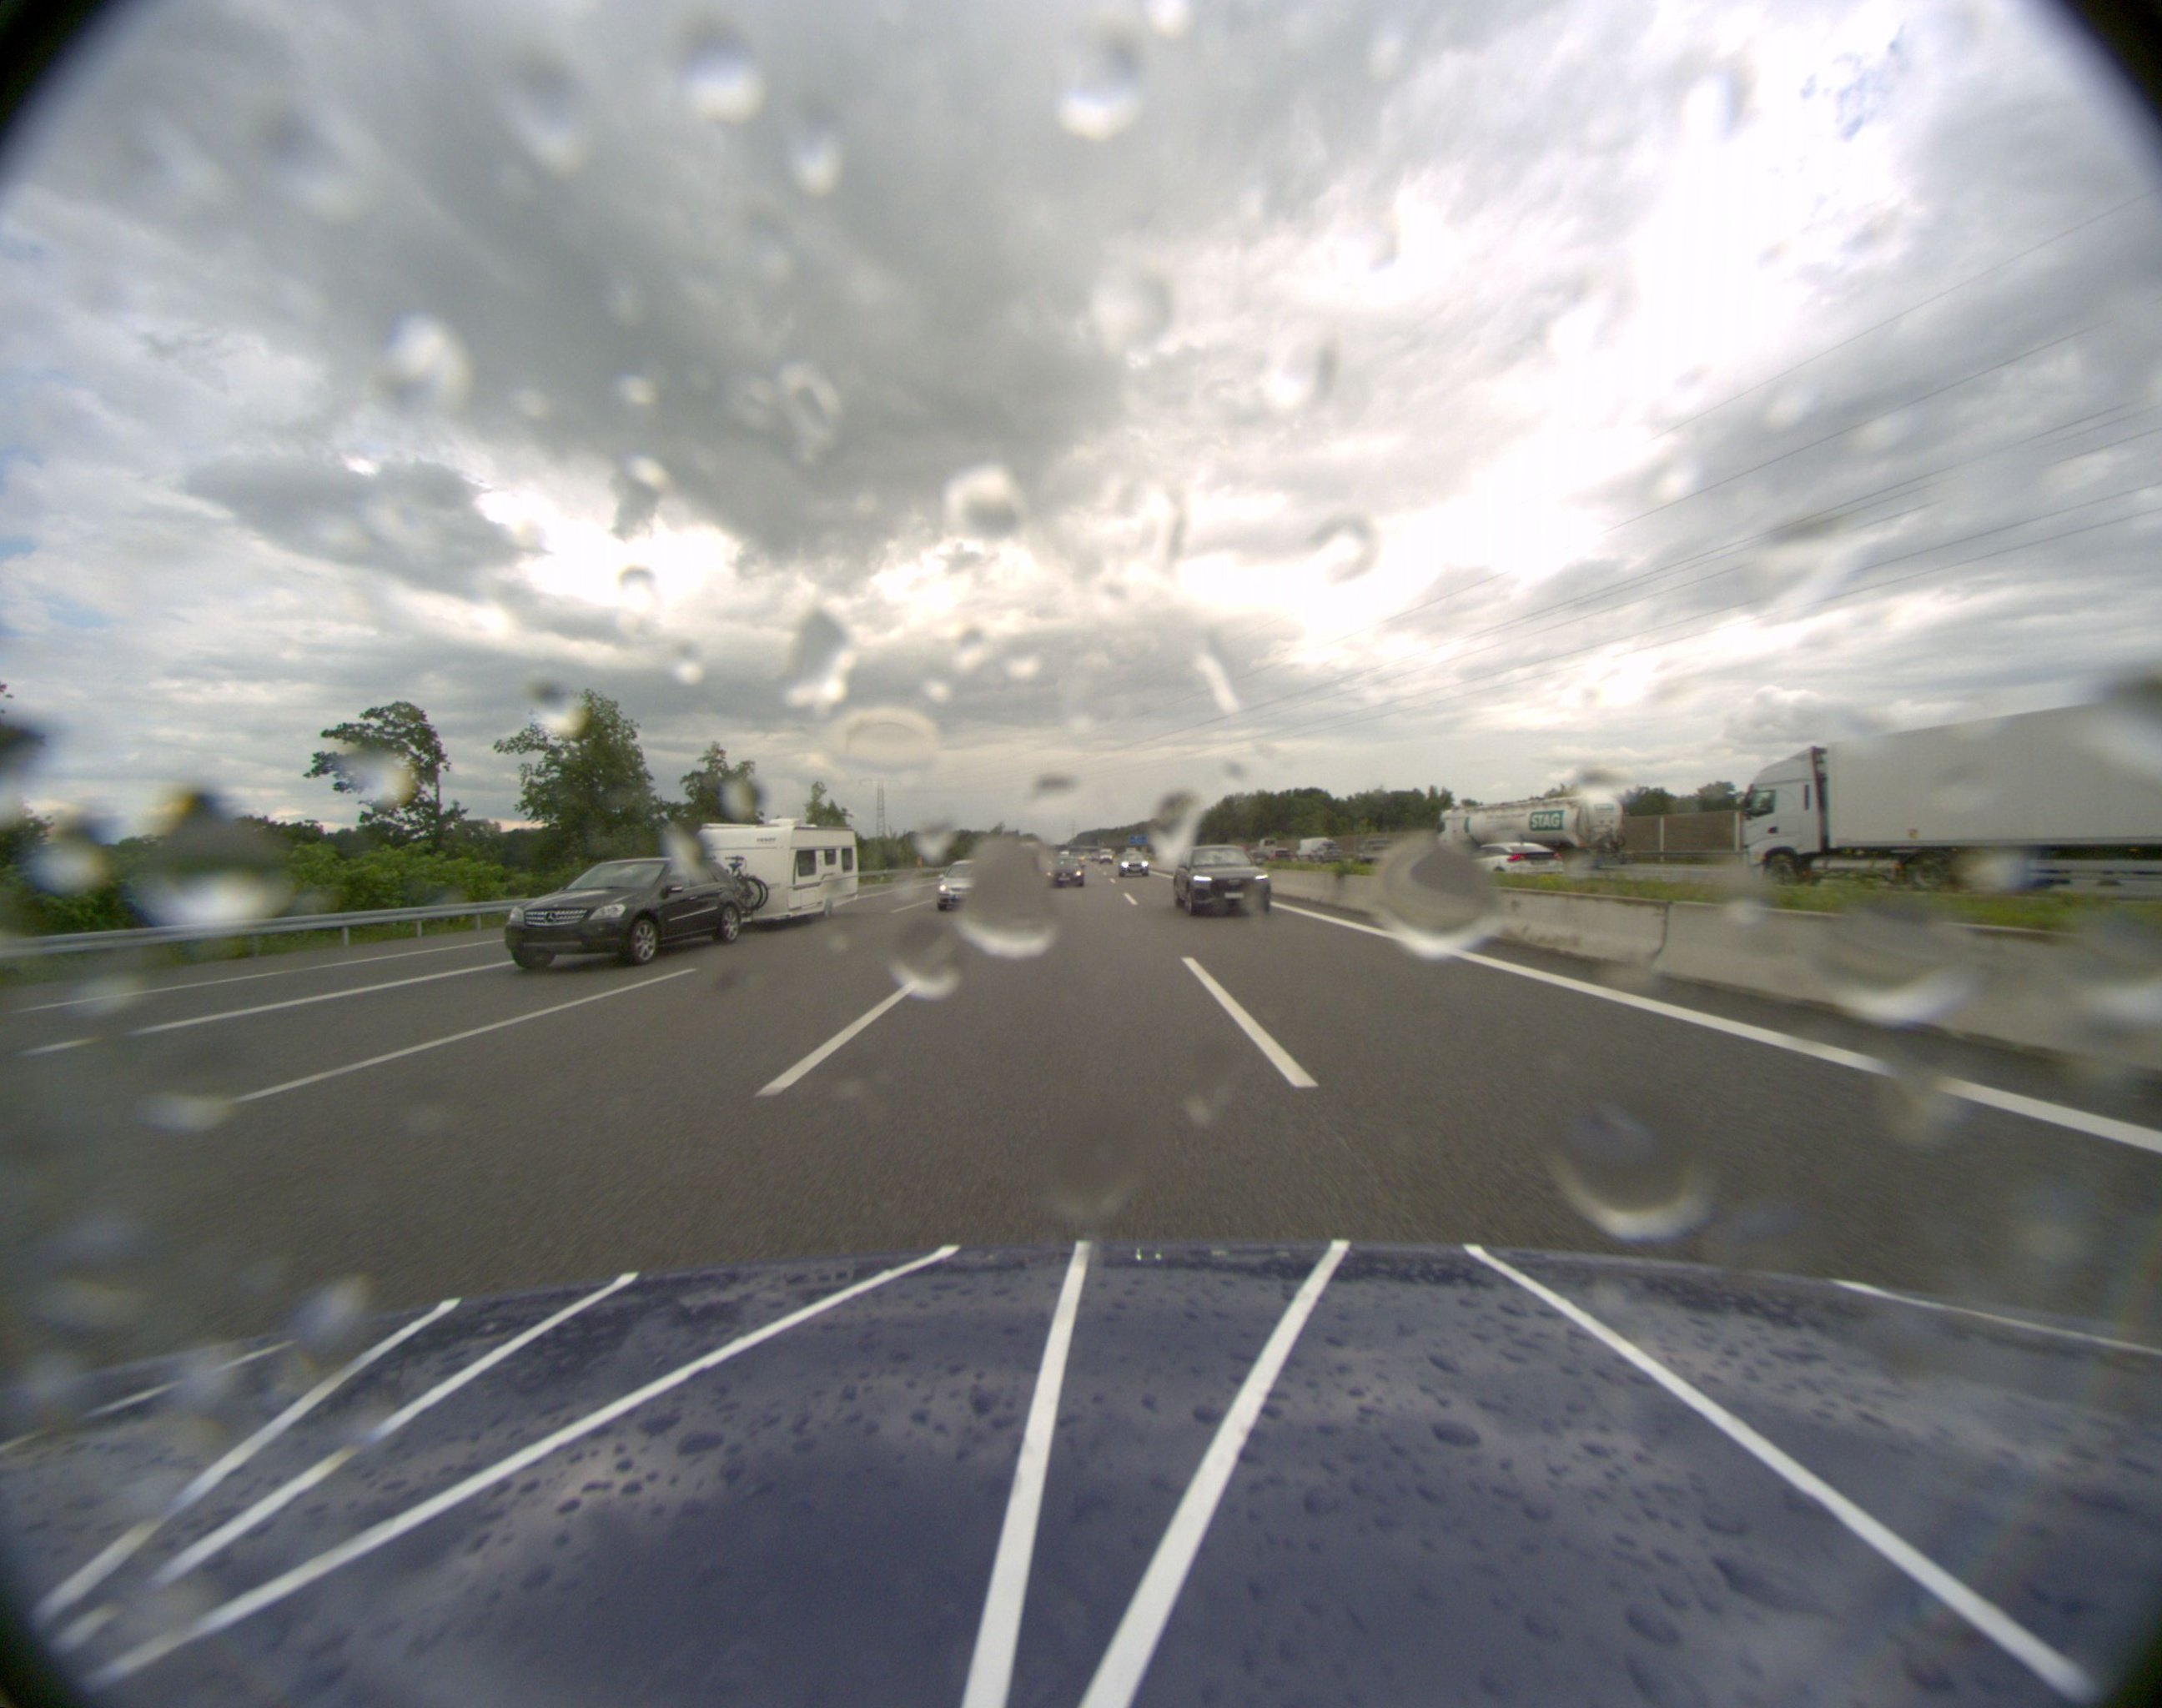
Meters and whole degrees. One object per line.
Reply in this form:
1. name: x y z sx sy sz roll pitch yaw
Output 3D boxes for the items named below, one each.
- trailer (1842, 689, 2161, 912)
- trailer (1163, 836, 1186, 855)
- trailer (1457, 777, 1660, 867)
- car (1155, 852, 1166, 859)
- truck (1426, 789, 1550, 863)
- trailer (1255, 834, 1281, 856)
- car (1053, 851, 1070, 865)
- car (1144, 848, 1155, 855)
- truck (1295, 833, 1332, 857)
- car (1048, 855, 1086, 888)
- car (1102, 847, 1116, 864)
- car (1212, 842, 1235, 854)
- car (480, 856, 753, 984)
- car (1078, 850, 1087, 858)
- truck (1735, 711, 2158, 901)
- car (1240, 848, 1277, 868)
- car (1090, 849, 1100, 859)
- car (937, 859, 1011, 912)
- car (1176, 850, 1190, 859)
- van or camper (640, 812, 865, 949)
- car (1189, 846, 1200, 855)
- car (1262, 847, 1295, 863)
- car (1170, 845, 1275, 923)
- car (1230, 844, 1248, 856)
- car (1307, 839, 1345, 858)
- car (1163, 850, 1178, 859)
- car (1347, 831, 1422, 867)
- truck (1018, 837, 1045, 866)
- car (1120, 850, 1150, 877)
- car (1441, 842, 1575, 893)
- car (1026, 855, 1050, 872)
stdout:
1. trailer: 21.705 -1.053 13.203 3.669 4.084 13.399 -3 0 1
2. trailer: 21.944 -1.924 179.294 3.328 4.038 13.286 -3 0 -1
3. trailer: 26.403 -1.588 43.342 3.669 4.212 12.466 -3 0 0
4. car: 18.015 0.249 172.164 1.770 1.528 5.160 -3 0 0
5. truck: 26.435 -1.718 49.945 3.669 4.294 8.237 -3 0 0
6. trailer: 25.554 -1.202 103.998 2.253 2.945 4.900 -3 0 0
7. car: -2.472 0.513 97.514 1.999 1.701 3.999 -3 0 0
8. car: 14.565 -0.580 161.943 1.770 1.446 5.084 -3 0 0
9. truck: 25.915 -0.964 85.000 2.107 2.437 6.263 -3 0 0
10. car: -0.626 0.801 37.331 1.717 1.437 4.000 -2 0 1
11. car: 4.379 0.146 119.218 1.998 2.524 4.808 -3 0 0
12. car: 18.749 -0.812 100.177 1.970 1.446 4.942 -3 0 0
13. car: -7.772 0.979 13.370 1.925 1.766 4.502 -2 0 1
14. car: 0.308 -0.014 183.541 1.998 2.002 4.000 -3 0 0
15. truck: 21.854 -1.074 19.986 3.669 4.024 6.524 -3 0 1
16. car: 14.267 0.286 61.370 1.792 1.446 4.564 -3 0 0
17. car: 3.128 -0.010 169.532 1.998 2.002 4.000 -3 0 0
18. car: -3.303 0.938 24.157 1.683 1.437 4.000 -2 0 1
19. car: 18.678 0.118 139.228 1.770 1.446 4.942 -3 0 0
20. van or camper: -7.796 0.523 19.272 2.390 2.723 7.208 -3 0 1
21. car: 26.696 -0.856 178.232 2.008 2.002 4.000 -3 0 1
22. car: 18.481 0.078 71.272 1.792 1.446 4.564 -3 0 0
23. car: 3.474 0.652 19.634 1.913 1.681 5.169 -2 0 2
24. car: 25.769 -0.675 124.109 1.770 1.956 4.942 -3 0 0
25. car: 21.463 -0.480 66.804 1.792 1.460 4.564 -3 0 0
26. car: 14.926 0.062 127.100 1.831 1.446 4.942 -3 0 0
27. car: 18.366 -0.288 46.395 2.286 1.956 6.087 -3 0 2
28. truck: -6.702 -0.363 105.164 2.870 3.633 9.594 -3 0 1
29. car: 3.617 0.606 51.400 1.840 1.615 4.915 -2 0 3
30. car: 13.896 0.390 25.084 1.792 1.446 4.564 -3 0 0
31. car: -3.889 0.842 69.150 1.841 1.437 4.000 -2 0 1
